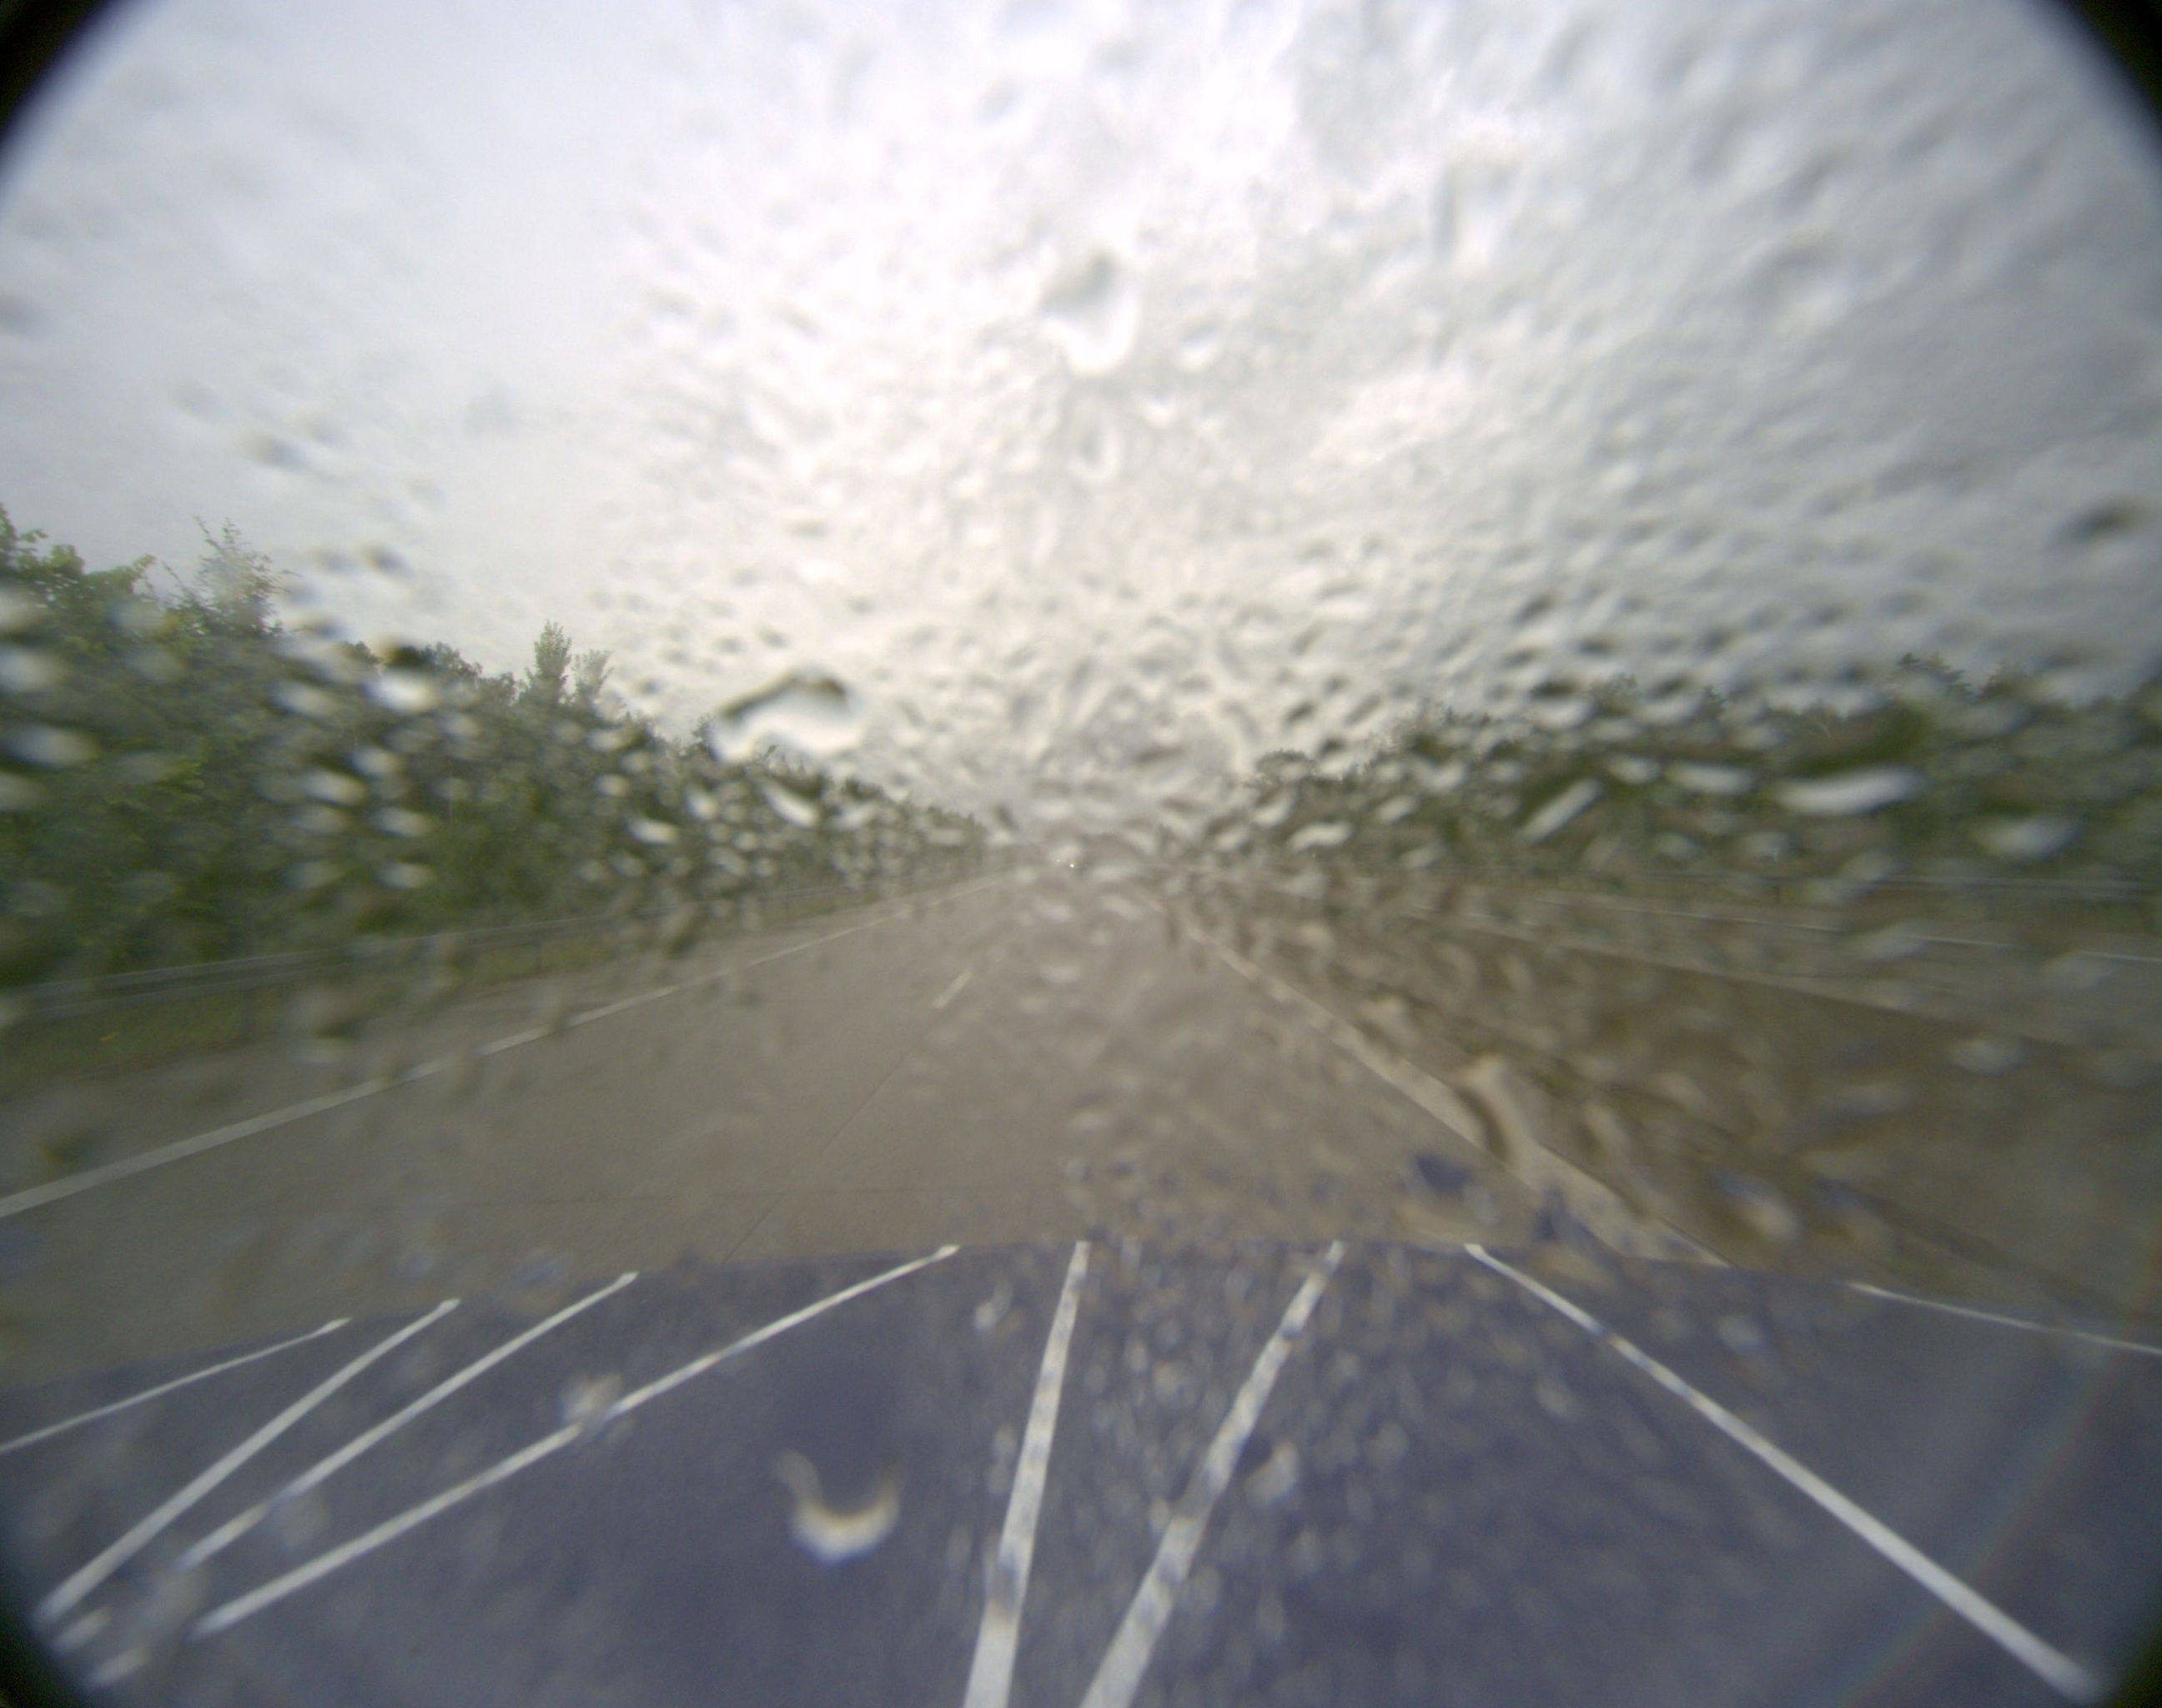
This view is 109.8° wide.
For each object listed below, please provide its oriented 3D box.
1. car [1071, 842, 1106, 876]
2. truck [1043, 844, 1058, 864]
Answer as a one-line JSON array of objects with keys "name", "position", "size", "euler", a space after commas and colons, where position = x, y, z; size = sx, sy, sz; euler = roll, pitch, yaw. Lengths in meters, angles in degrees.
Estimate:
[{"name": "car", "position": [0.434, 0.392, 49.413], "size": [1.796, 2.113, 4.523], "euler": [1, -2, -5]}, {"name": "truck", "position": [-6.427, -0.048, 160.305], "size": [2.767, 4.063, 5.436], "euler": [1, -1, -5]}]
